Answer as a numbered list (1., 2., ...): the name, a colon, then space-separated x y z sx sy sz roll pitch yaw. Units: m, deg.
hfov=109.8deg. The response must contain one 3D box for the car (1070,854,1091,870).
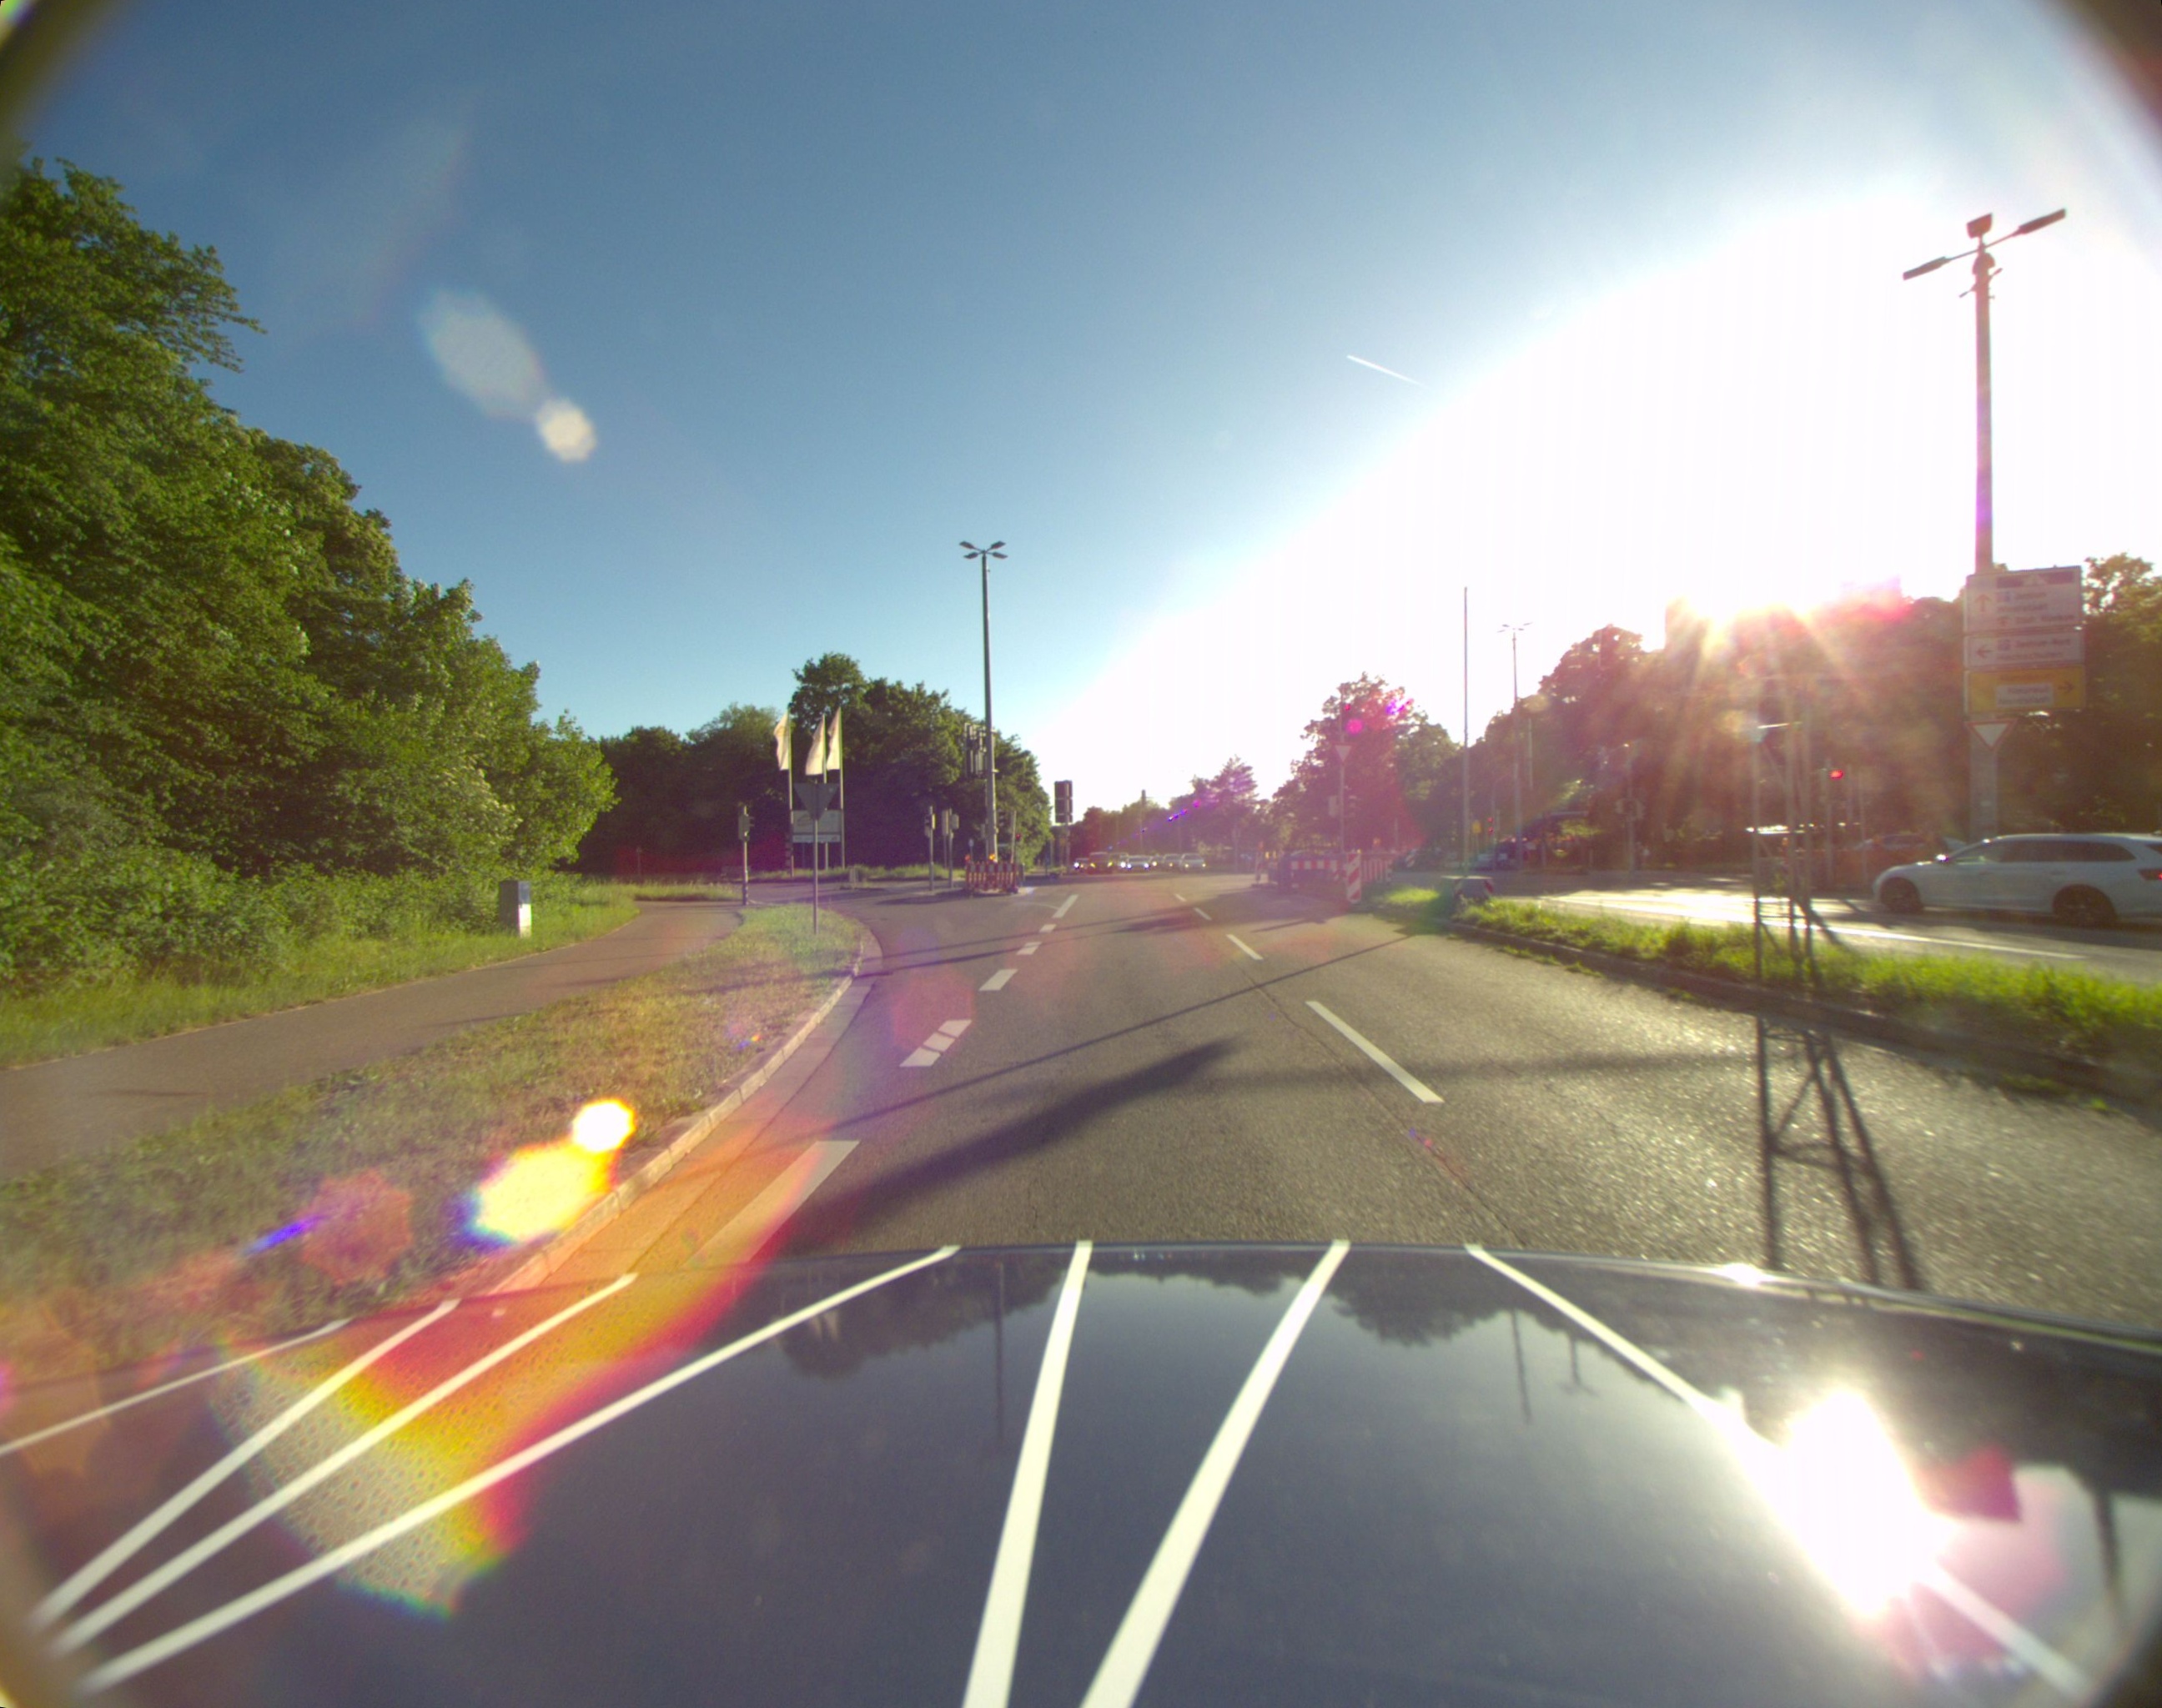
1. car: -0.048 0.854 81.051 1.998 1.510 4.000 -2 1 2

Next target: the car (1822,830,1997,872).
1. car: 35.926 -0.115 33.133 4.731 1.677 2.003 -1 0 22

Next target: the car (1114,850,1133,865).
1. car: 4.725 0.345 84.701 1.998 1.510 4.000 -2 1 2

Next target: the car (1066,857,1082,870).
1. car: -0.897 1.274 100.245 1.998 1.510 4.000 -2 1 2

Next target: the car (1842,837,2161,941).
1. car: 16.080 0.465 12.681 1.998 1.442 4.842 0 1 2

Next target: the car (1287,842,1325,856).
1. car: 27.906 -0.607 94.386 4.000 1.510 1.998 -2 1 -10

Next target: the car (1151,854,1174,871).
1. car: 8.202 0.813 76.619 1.998 1.510 4.000 -2 1 2

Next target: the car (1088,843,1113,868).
1. car: 1.680 0.098 65.428 1.998 2.057 4.000 -2 1 2

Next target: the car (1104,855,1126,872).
1. car: 3.274 0.898 74.121 1.998 1.510 4.000 -2 1 2

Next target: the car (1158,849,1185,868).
1. car: 8.171 0.361 68.814 1.998 1.510 4.000 -2 1 2

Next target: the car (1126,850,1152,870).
1. car: 5.051 0.503 66.458 1.998 1.510 4.000 -2 1 2

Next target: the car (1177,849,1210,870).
1. car: 8.543 0.413 57.955 1.998 1.510 4.000 -1 0 2
